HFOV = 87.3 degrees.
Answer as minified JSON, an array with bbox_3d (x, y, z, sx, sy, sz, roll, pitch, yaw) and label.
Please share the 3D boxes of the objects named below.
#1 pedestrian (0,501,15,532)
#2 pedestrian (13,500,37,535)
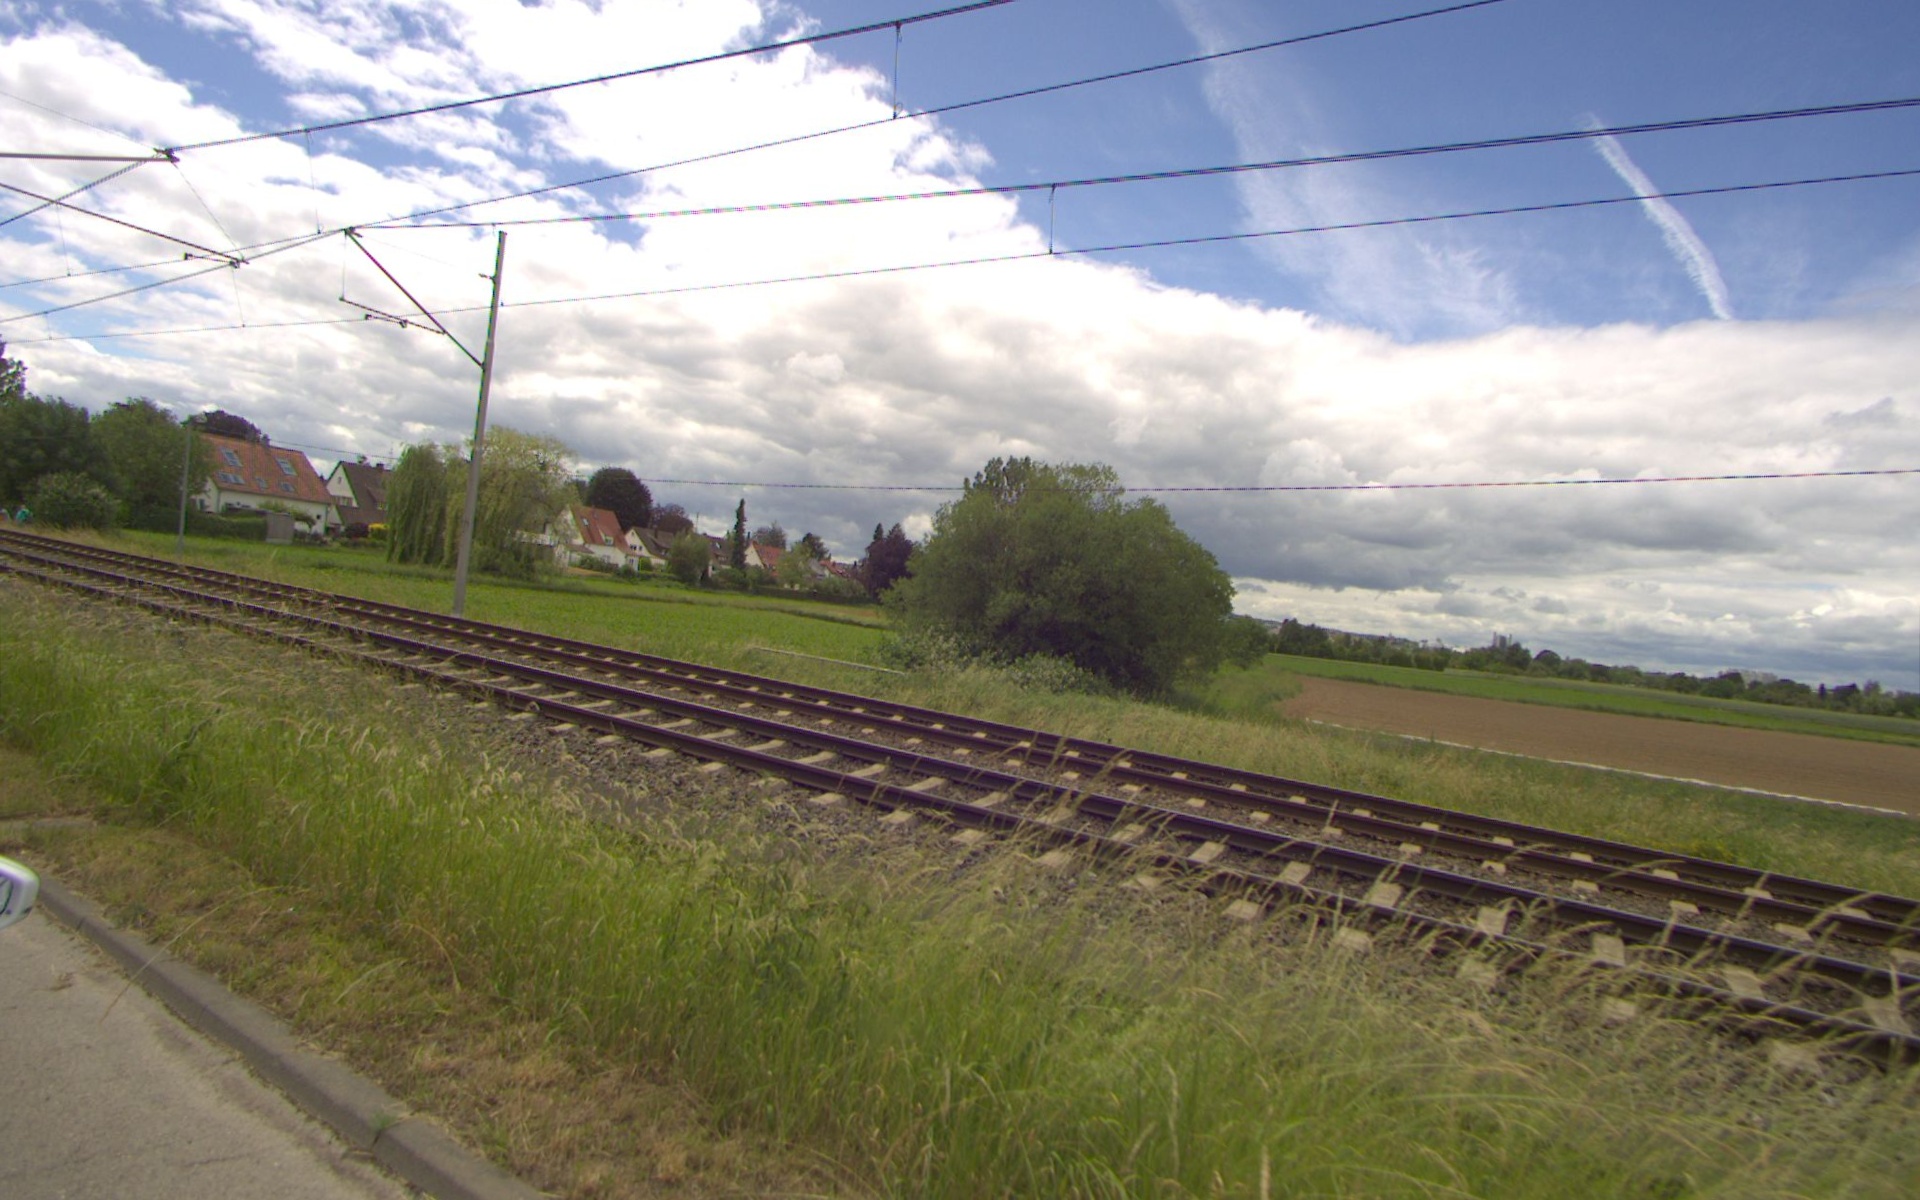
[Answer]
[{"bbox_3d":[-47.469,-4.172,49.910,0.655,1.447,0.599,7,-1,32],"label":"pedestrian"},{"bbox_3d":[-47.033,-4.157,50.603,0.574,1.641,0.617,7,-1,32],"label":"pedestrian"}]
